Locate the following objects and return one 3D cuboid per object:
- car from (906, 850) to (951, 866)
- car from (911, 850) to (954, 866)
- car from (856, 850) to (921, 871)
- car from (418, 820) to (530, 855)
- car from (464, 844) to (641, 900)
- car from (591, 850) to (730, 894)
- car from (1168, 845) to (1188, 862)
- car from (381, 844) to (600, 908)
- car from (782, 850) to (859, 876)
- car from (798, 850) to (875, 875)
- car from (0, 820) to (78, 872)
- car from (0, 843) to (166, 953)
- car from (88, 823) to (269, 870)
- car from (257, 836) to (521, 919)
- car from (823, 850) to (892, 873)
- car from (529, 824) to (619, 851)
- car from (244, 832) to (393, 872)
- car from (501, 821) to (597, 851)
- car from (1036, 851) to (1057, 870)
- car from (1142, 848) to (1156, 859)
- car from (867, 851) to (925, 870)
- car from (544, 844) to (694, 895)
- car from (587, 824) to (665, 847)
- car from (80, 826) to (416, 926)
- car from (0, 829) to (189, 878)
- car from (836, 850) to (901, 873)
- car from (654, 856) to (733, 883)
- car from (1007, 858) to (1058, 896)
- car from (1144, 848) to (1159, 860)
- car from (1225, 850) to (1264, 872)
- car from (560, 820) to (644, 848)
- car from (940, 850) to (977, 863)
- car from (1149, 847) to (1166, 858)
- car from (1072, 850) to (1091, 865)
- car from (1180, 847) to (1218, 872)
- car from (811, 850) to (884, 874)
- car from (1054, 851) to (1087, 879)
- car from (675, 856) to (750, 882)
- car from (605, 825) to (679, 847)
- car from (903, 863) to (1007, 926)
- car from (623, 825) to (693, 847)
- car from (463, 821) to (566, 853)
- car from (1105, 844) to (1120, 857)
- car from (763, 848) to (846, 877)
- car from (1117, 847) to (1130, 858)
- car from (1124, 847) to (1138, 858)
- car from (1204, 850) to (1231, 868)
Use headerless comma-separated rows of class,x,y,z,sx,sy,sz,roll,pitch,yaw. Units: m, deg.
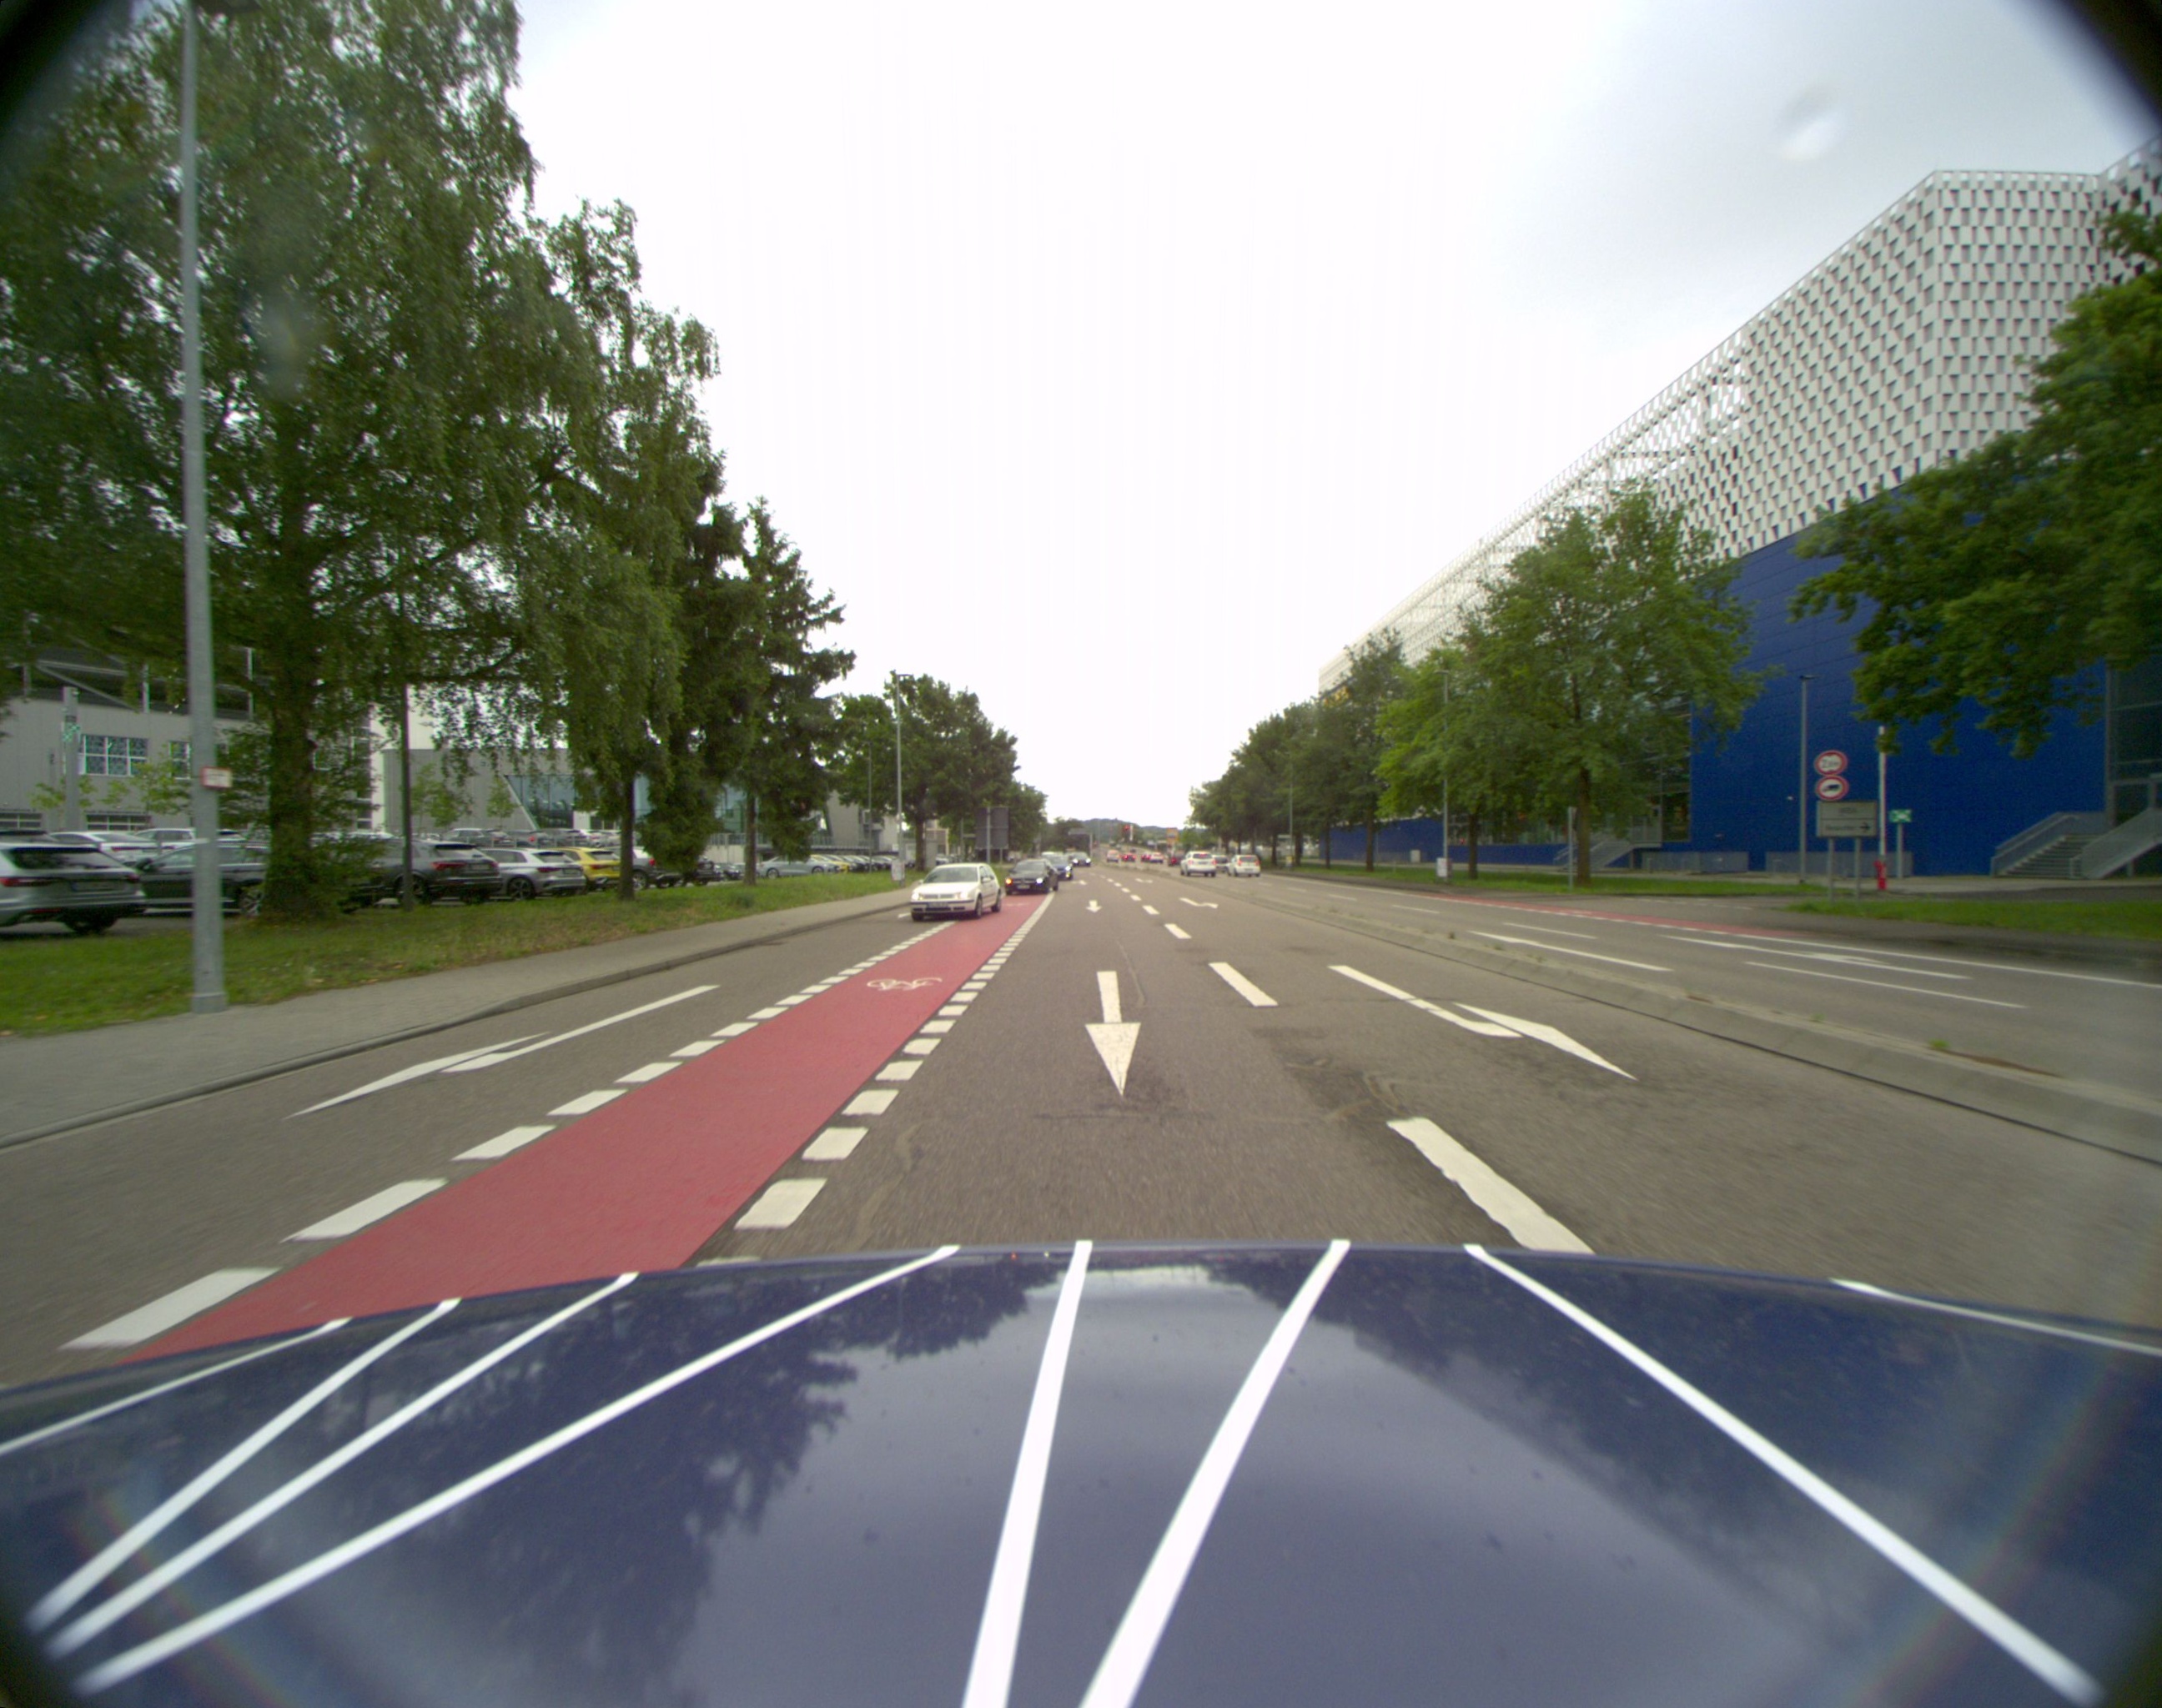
car,-15.362,0.408,76.633,4.040,1.384,1.727,-3,1,1
car,-15.423,0.408,79.165,4.040,1.384,1.727,-3,1,1
car,-15.795,0.556,62.387,4.763,1.416,1.902,-3,1,1
car,-31.967,-0.864,40.111,4.309,1.518,1.859,-3,1,-1
car,-15.670,0.502,22.665,4.004,1.371,1.810,-3,1,3
car,-15.510,0.631,28.161,4.002,1.346,1.902,-3,0,2
car,11.478,-0.042,90.346,1.771,1.913,4.908,0,0,0
car,-15.620,0.556,20.247,4.308,1.374,1.902,-3,1,2
car,-16.078,0.555,47.060,4.056,1.369,1.795,-3,1,1
car,-15.843,0.529,49.330,4.308,1.350,1.739,-3,1,1
car,-32.308,-0.132,21.853,4.309,1.366,1.832,-3,1,-1
car,-16.622,0.645,11.006,4.310,1.481,1.739,-1,0,-5
car,-32.311,-0.253,27.291,4.309,1.374,1.699,-3,1,-1
car,-15.992,0.521,17.727,4.308,1.592,1.969,-3,1,2
car,-16.004,0.524,54.473,4.308,1.436,1.844,-3,1,1
car,-31.865,-1.019,47.854,4.309,1.425,1.864,-3,1,-1
car,-32.121,-0.087,32.119,4.309,1.364,1.832,-3,1,-1
car,-31.750,-1.046,45.408,4.309,1.503,1.832,-3,1,-1
car,-3.407,0.613,75.042,1.995,1.838,4.103,0,0,-2
car,11.856,-0.112,132.556,1.651,1.788,3.979,2,0,-5
car,-15.691,0.521,64.580,4.308,1.309,1.863,-3,0,1
car,-15.439,0.494,25.553,3.761,1.415,1.953,-3,1,0
car,-31.788,-1.295,53.165,4.309,1.355,1.832,-3,1,-1
car,-16.261,0.408,15.035,4.309,1.592,1.969,-3,1,-1
car,-32.161,-0.010,24.576,4.309,1.282,1.832,-3,0,-1
car,-15.933,0.528,57.080,4.308,1.436,1.844,-3,1,1
car,-26.326,1.039,51.710,4.308,1.592,1.902,-3,1,1
car,-2.033,0.946,32.865,1.836,1.416,4.000,-2,0,1
car,11.383,0.014,122.683,1.651,1.788,3.979,2,0,-5
car,11.076,0.475,51.634,1.681,1.420,3.649,1,0,-2
car,-31.779,-1.295,50.523,4.307,1.582,1.896,-3,1,2
car,-14.793,0.297,92.031,4.040,1.384,1.727,-3,1,1
car,11.716,-0.247,116.392,1.728,1.602,3.979,2,0,-5
car,0.097,0.377,77.916,1.836,1.416,4.000,-2,0,1
car,7.763,0.342,50.396,1.822,1.577,4.513,1,0,0
car,-15.951,0.557,52.075,4.308,1.370,1.838,-3,1,1
car,-0.679,0.653,47.419,1.788,1.638,3.998,0,1,-5
car,-26.178,1.066,54.115,4.308,1.592,1.902,-3,1,1
car,-32.269,-1.331,55.908,4.309,1.355,1.832,-3,1,-1
car,-3.261,1.004,20.488,1.725,1.416,3.942,-2,0,6
car,-32.474,-1.385,58.416,4.309,1.355,1.832,-3,1,-1
car,-31.915,-0.967,42.882,4.309,1.516,1.832,-3,1,-1
car,4.625,-0.491,112.405,1.651,1.788,3.979,1,0,-6
car,-16.200,0.509,44.638,4.198,1.423,1.739,-3,1,1
car,7.589,-0.264,134.868,1.651,1.788,3.979,2,0,-5
car,8.204,-0.329,125.613,1.651,1.788,3.979,0,1,-5
car,11.164,0.425,62.293,1.628,1.414,3.611,1,0,0
